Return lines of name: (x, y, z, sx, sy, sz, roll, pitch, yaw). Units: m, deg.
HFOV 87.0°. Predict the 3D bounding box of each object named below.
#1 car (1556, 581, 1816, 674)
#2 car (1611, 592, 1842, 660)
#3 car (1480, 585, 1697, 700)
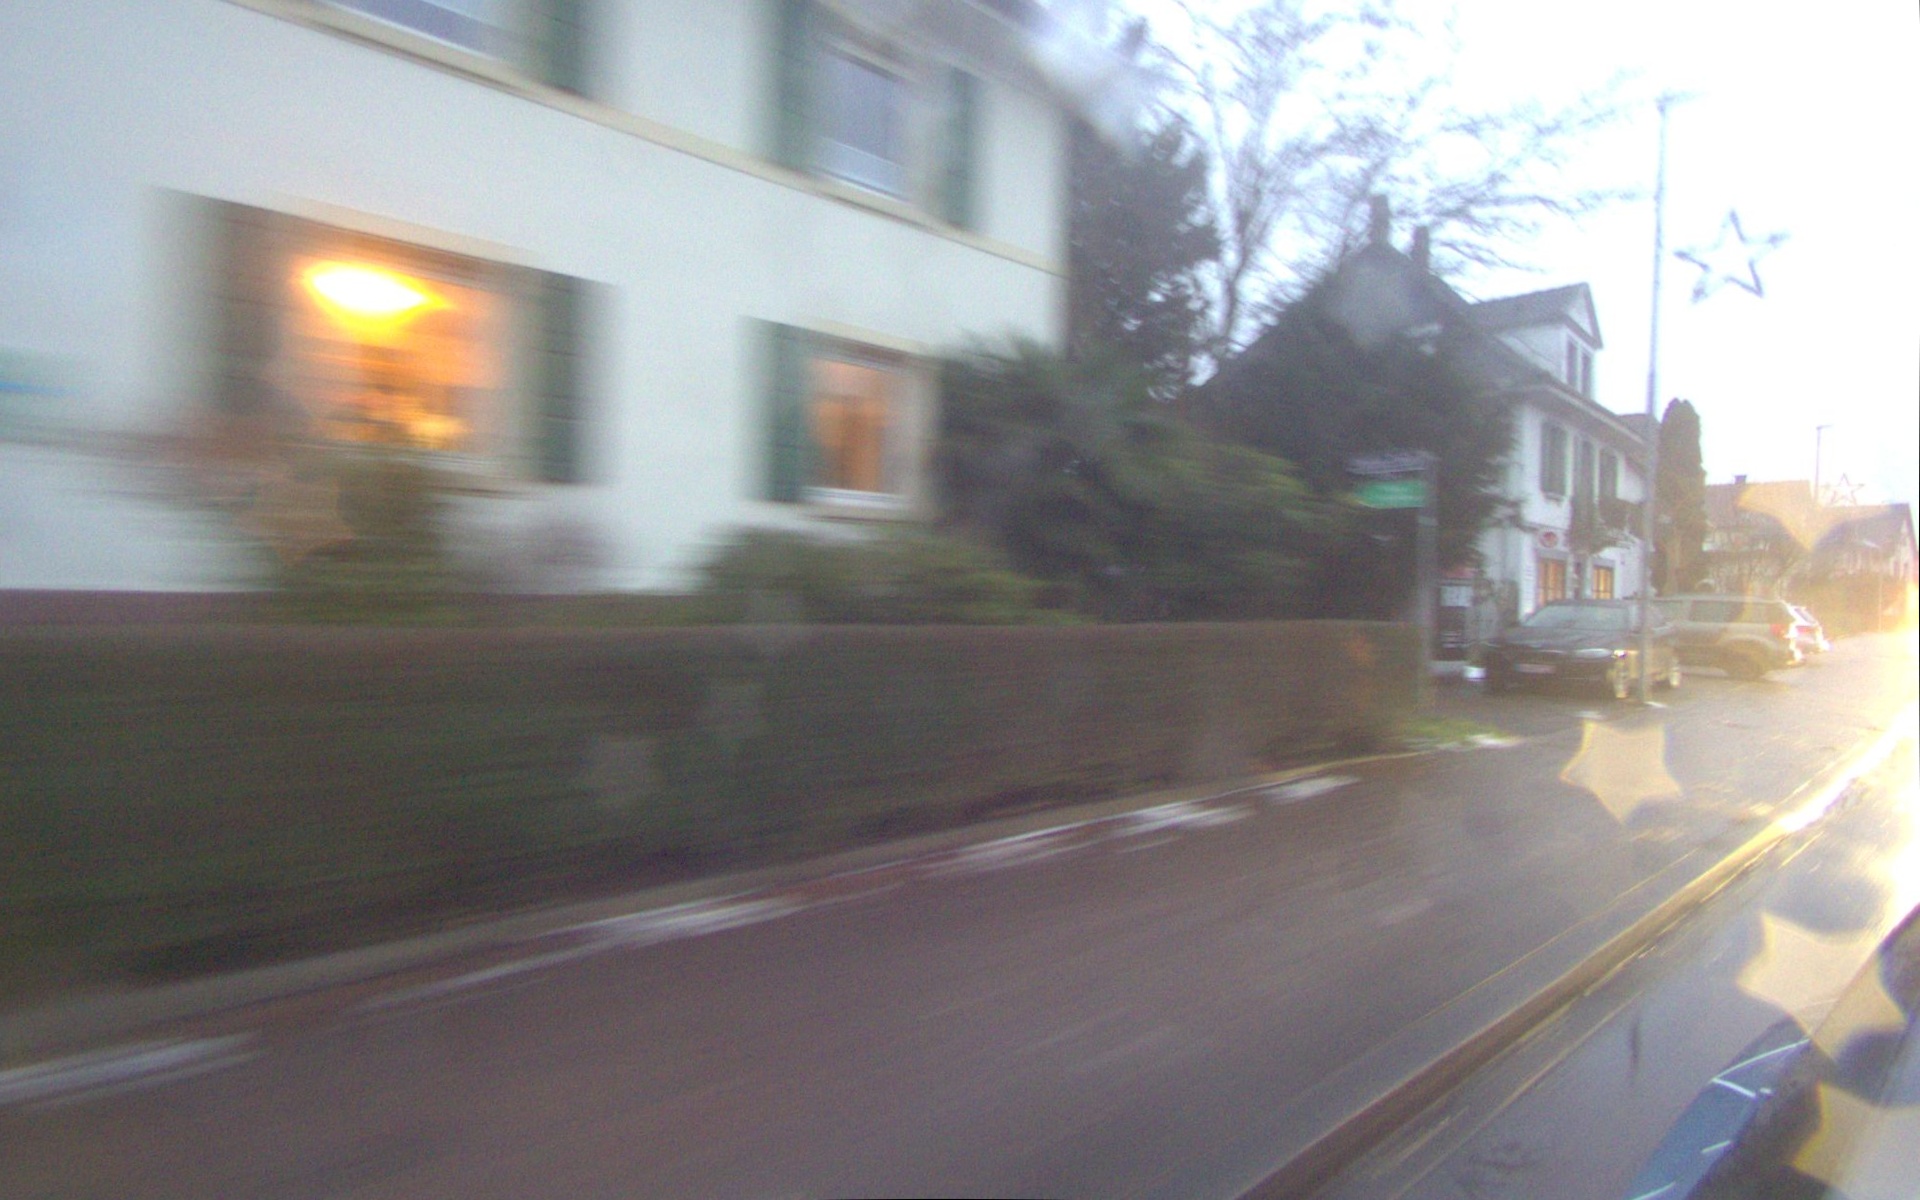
car: (14.904, 0.499, 20.909, 1.968, 1.727, 4.104, -1, 1, -44)
car: (20.681, 0.629, 27.475, 1.874, 1.650, 4.741, -1, 1, -41)
car: (10.157, 0.574, 16.190, 4.677, 1.574, 1.894, 0, 0, -44)
